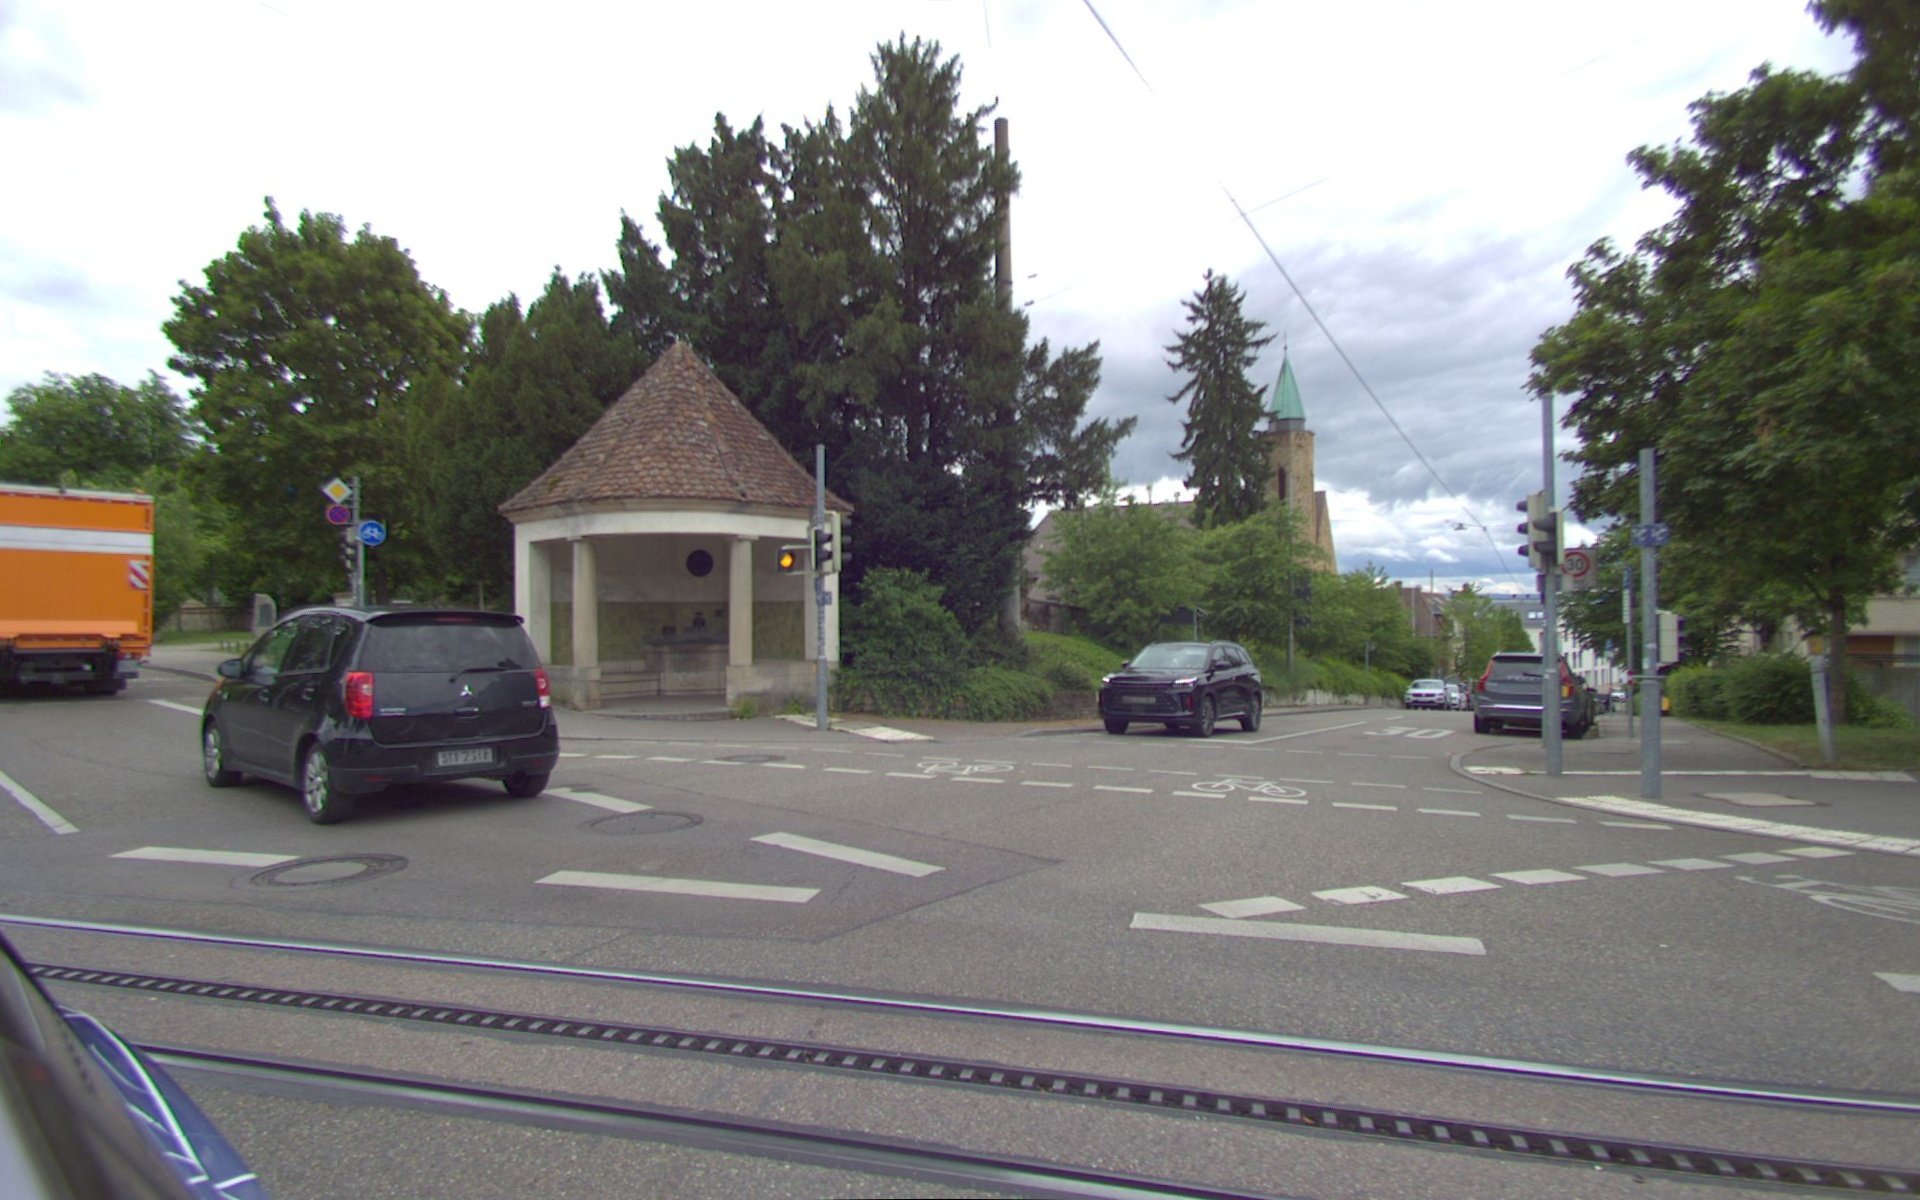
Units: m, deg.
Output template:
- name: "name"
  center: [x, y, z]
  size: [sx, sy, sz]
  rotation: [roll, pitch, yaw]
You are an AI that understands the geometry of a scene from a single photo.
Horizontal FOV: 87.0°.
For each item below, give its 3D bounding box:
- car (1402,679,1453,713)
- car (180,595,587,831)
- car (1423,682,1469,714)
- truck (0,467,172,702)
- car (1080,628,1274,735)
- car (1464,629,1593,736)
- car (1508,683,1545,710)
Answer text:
- name: "car"
  center: [22.900, 4.680, 49.529]
  size: [1.790, 1.550, 3.956]
  rotation: [-1, -5, 32]
- name: "car"
  center: [-4.864, 0.776, 8.356]
  size: [3.729, 1.517, 1.658]
  rotation: [-1, -3, 39]
- name: "car"
  center: [25.992, 5.212, 54.063]
  size: [1.790, 1.611, 3.956]
  rotation: [-1, -5, 32]
- name: "truck"
  center: [-18.009, -0.196, 19.485]
  size: [8.462, 3.747, 2.741]
  rotation: [-1, -1, 40]
- name: "car"
  center: [4.079, 1.434, 18.429]
  size: [1.961, 1.682, 4.436]
  rotation: [-1, -4, 34]
- name: "car"
  center: [12.285, 1.737, 21.730]
  size: [1.995, 2.029, 4.416]
  rotation: [-1, -5, 35]
- name: "car"
  center: [36.062, 6.123, 64.387]
  size: [1.791, 1.550, 3.954]
  rotation: [-1, -5, 33]
